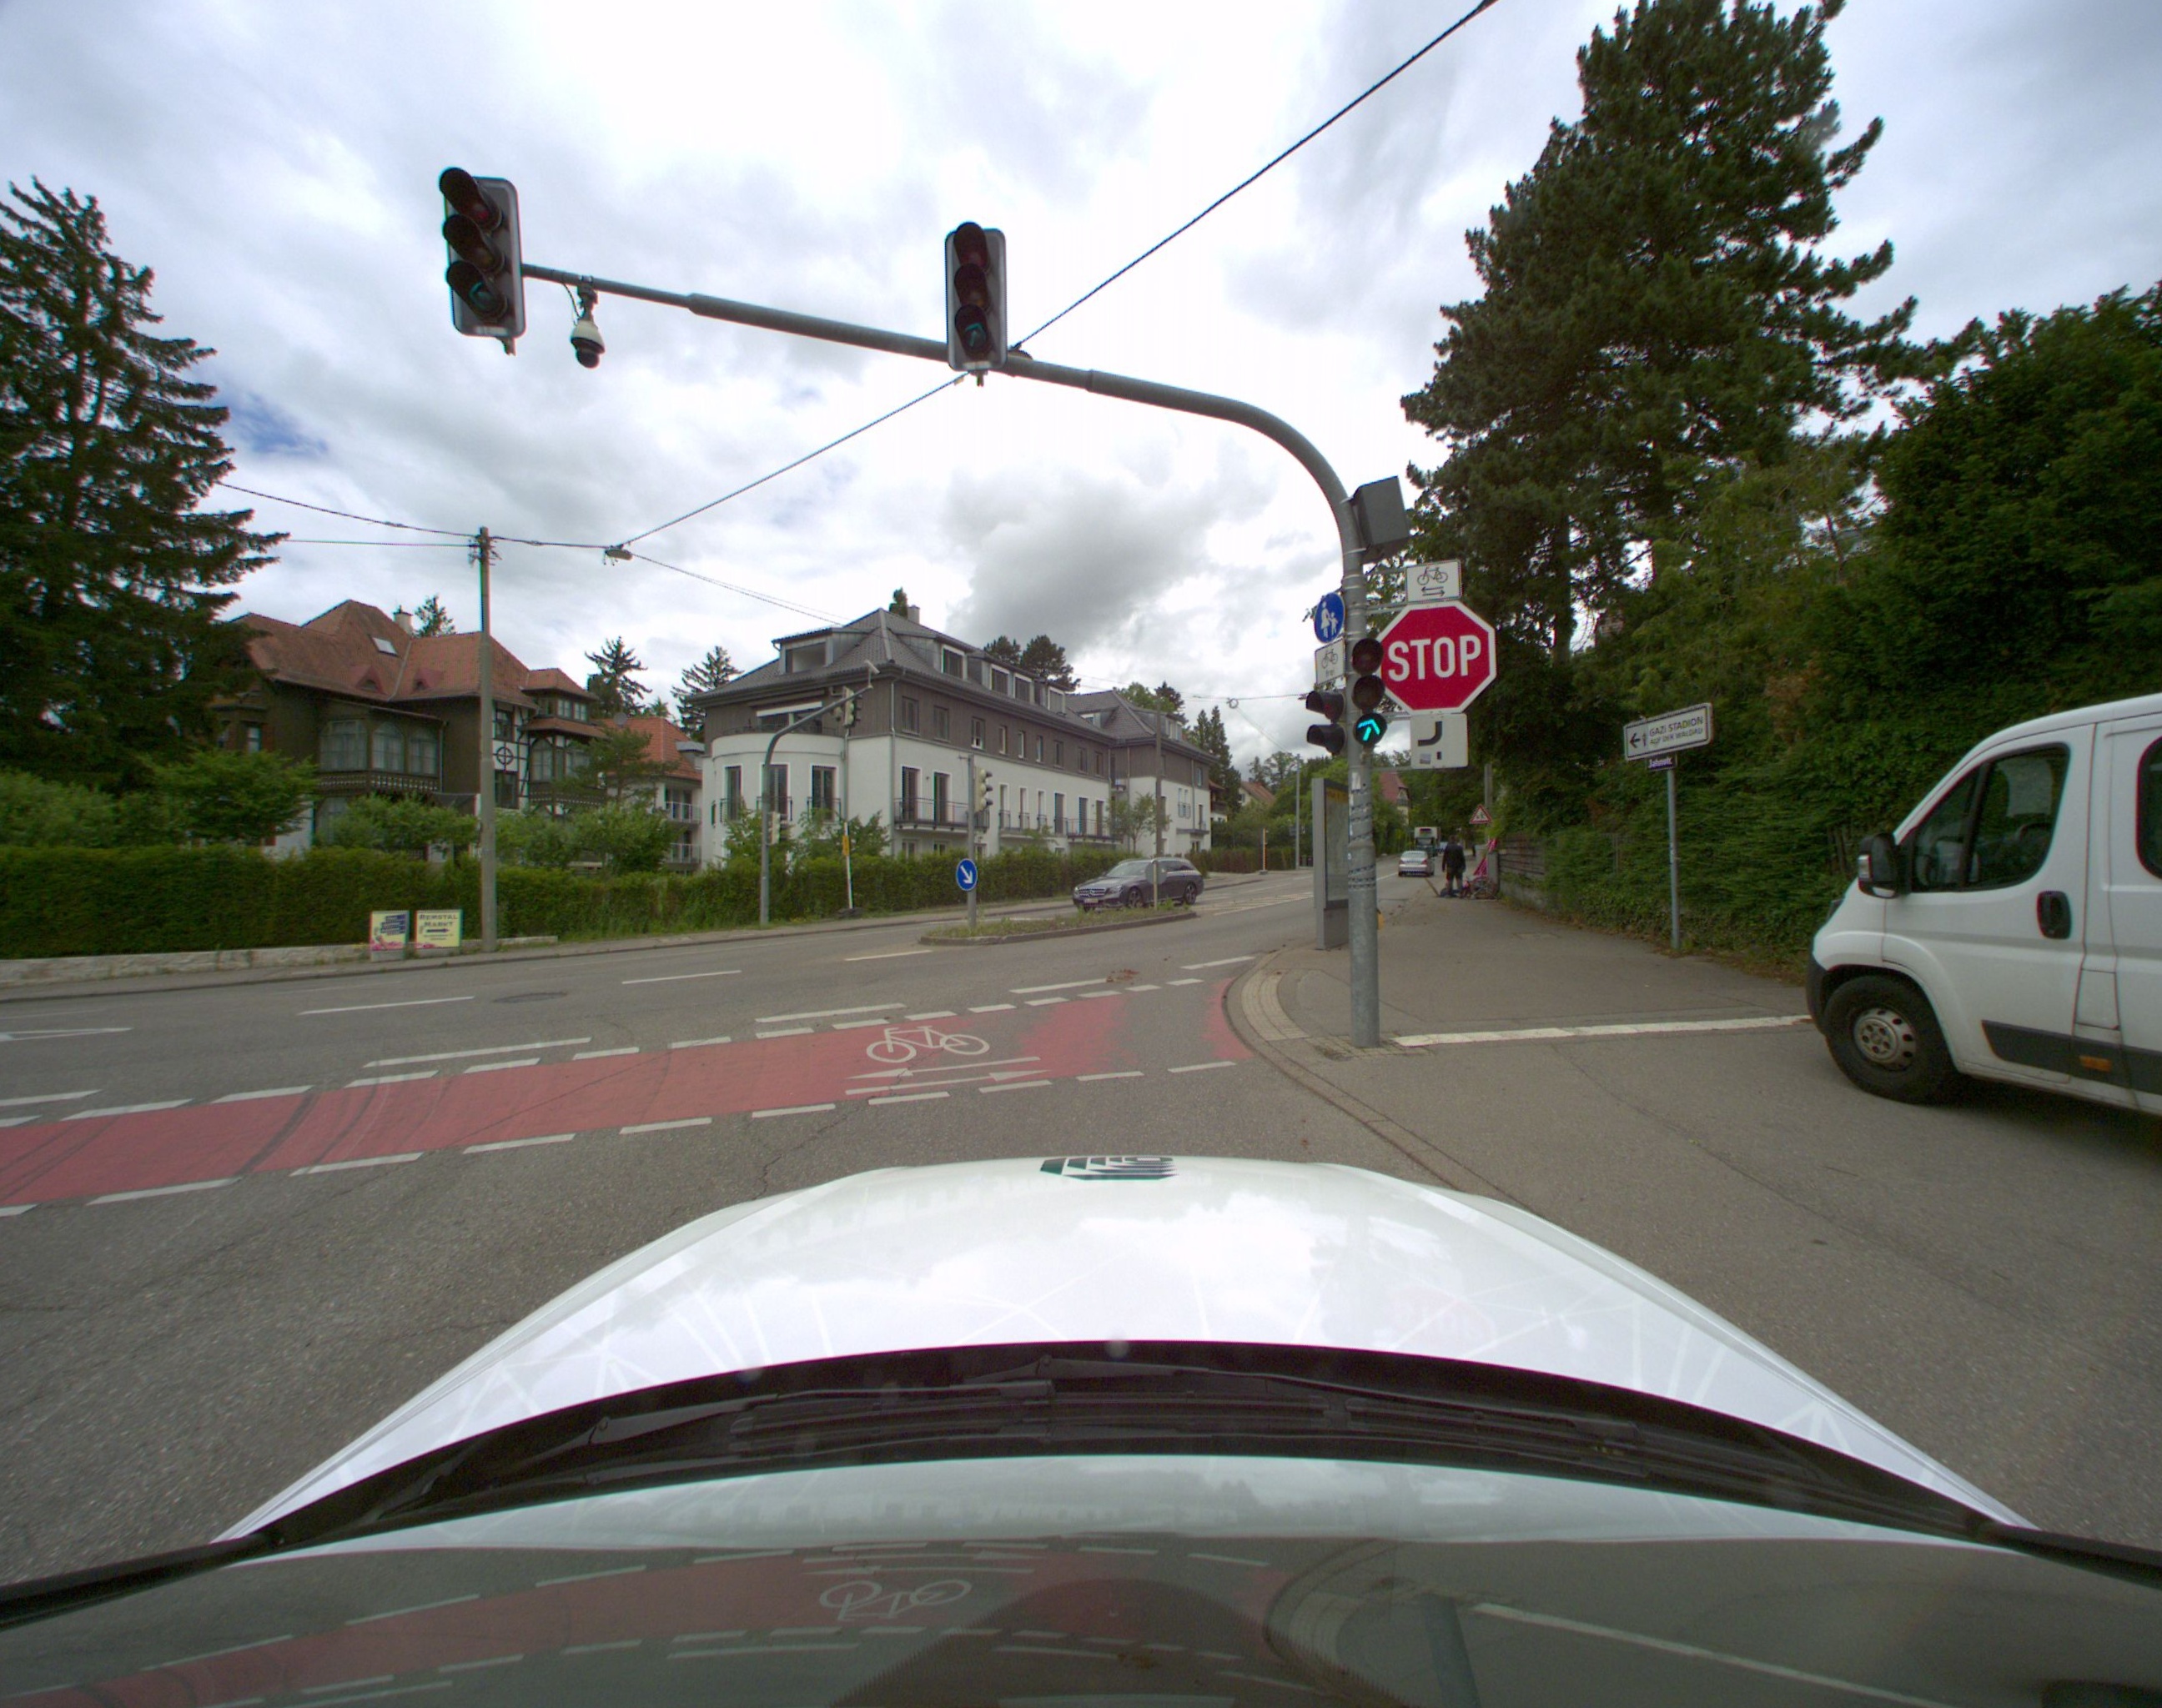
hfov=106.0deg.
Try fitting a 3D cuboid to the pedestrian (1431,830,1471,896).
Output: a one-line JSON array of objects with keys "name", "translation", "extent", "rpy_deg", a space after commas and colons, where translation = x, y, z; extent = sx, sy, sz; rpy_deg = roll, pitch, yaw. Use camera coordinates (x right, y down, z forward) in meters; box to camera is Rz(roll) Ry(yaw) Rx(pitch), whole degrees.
[{"name": "pedestrian", "translation": [11.071, 0.255, 24.384], "extent": [0.841, 1.923, 0.803], "rpy_deg": [-2, 0, 7]}]

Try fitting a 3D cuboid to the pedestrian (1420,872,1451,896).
[{"name": "pedestrian", "translation": [11.120, 0.941, 25.549], "extent": [0.646, 0.696, 0.582], "rpy_deg": [-2, 0, -14]}]

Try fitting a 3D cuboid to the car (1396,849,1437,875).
[{"name": "car", "translation": [18.980, 0.445, 45.979], "extent": [1.780, 1.415, 4.362], "rpy_deg": [-2, -1, 27]}]

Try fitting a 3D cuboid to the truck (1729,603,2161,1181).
[{"name": "truck", "translation": [5.519, 0.129, 2.659], "extent": [2.384, 2.352, 6.200], "rpy_deg": [-1, -1, 7]}]

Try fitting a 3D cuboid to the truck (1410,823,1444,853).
[{"name": "truck", "translation": [42.433, -1.903, 100.124], "extent": [2.757, 3.461, 7.523], "rpy_deg": [-1, -1, 15]}]

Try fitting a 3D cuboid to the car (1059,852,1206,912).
[{"name": "car", "translation": [1.636, 0.770, 23.944], "extent": [1.807, 1.485, 4.778], "rpy_deg": [-3, 0, 39]}]
